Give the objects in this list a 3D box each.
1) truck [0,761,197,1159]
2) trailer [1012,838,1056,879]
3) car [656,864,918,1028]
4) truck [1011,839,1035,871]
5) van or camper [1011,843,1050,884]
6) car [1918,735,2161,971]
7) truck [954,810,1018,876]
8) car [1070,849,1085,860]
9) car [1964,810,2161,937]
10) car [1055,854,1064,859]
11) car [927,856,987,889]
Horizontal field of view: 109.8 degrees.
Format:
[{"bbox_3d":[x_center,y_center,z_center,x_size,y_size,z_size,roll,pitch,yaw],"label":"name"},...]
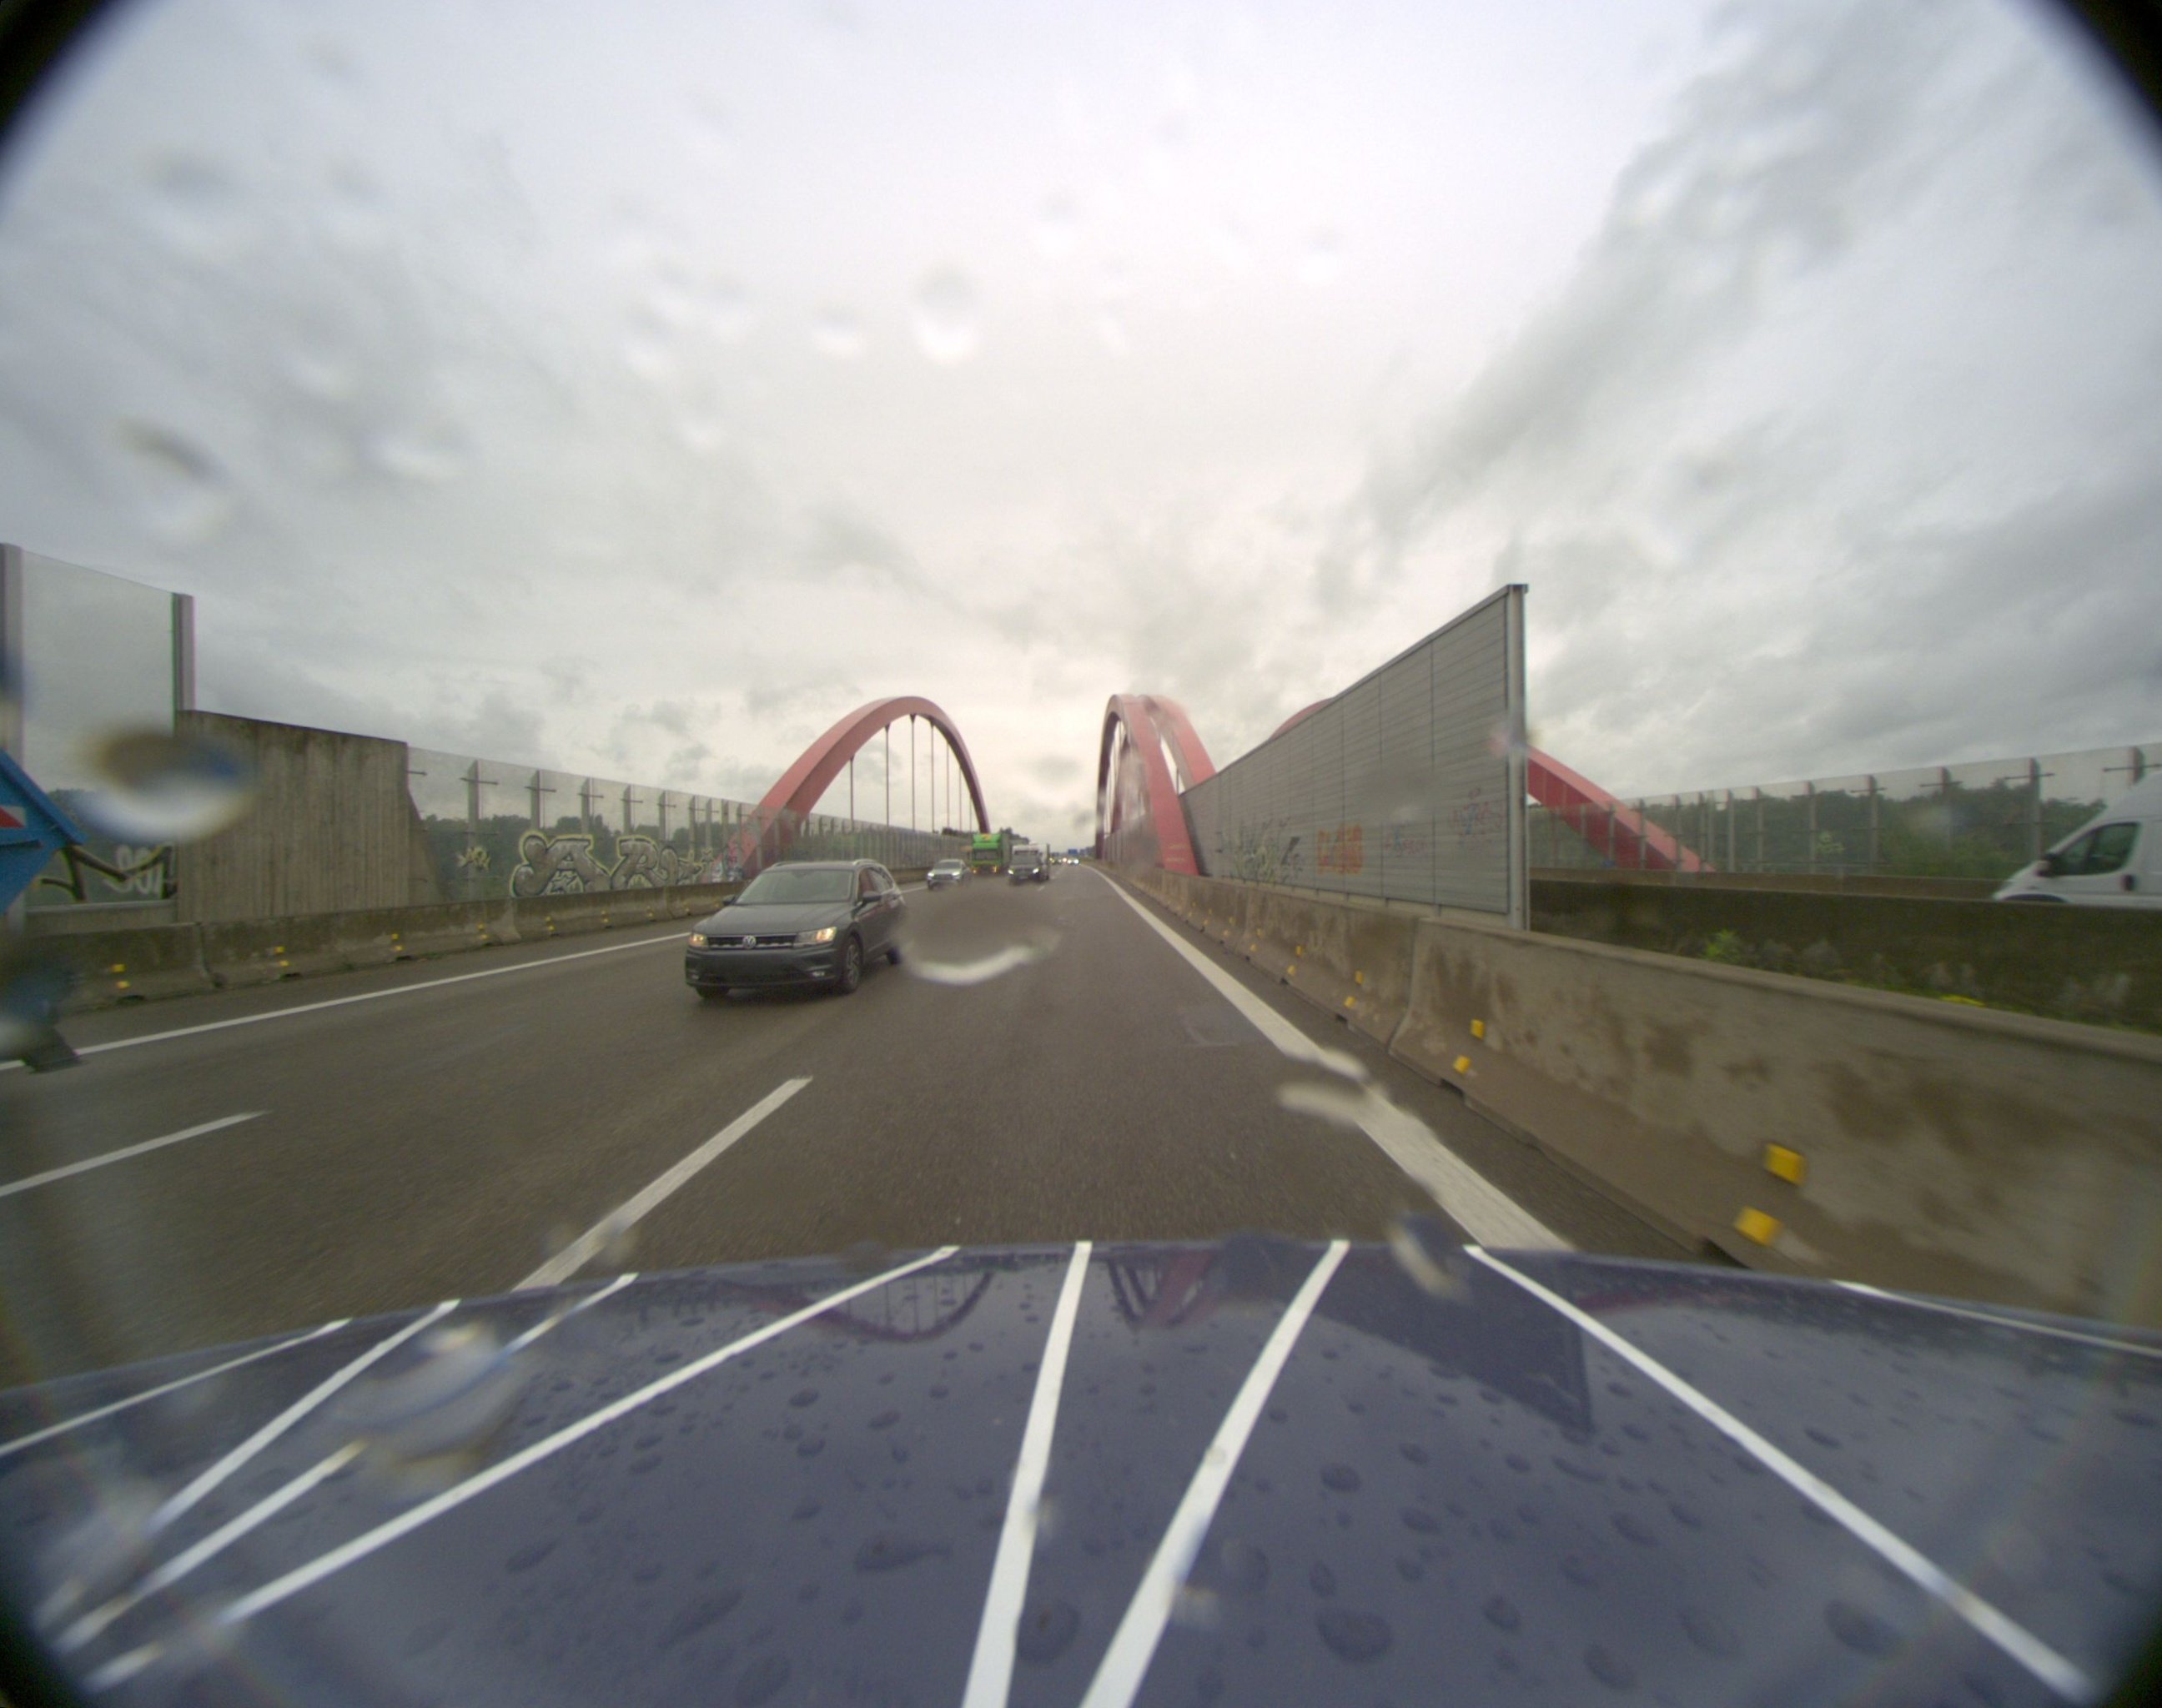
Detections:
[{"bbox_3d":[-8.028,0.711,2.704,2.367,2.492,6.144,-2,0,2],"label":"truck"},{"bbox_3d":[-3.146,0.296,52.769,2.728,2.627,7.510,-1,0,-1],"label":"trailer"},{"bbox_3d":[-3.656,1.032,10.369,1.917,1.660,4.103,-2,0,0],"label":"car"},{"bbox_3d":[-7.571,0.048,99.935,2.820,3.927,12.709,-1,0,-3],"label":"truck"},{"bbox_3d":[-2.990,0.528,46.220,1.895,2.256,5.679,-2,0,1],"label":"van or camper"},{"bbox_3d":[14.744,0.010,8.736,2.224,2.971,7.070,-2,4,-1],"label":"car"},{"bbox_3d":[-8.153,-0.934,67.225,4.008,5.235,11.218,-2,1,0],"label":"truck"},{"bbox_3d":[-0.702,0.102,156.015,2.680,2.340,5.806,-1,0,-4],"label":"car"},{"bbox_3d":[18.196,0.270,12.770,1.999,2.002,3.999,-3,1,0],"label":"car"},{"bbox_3d":[-4.741,0.498,166.762,2.061,1.020,3.437,-3,0,-2],"label":"car"},{"bbox_3d":[-6.971,1.001,43.313,1.998,1.610,5.329,-3,0,5],"label":"car"}]
